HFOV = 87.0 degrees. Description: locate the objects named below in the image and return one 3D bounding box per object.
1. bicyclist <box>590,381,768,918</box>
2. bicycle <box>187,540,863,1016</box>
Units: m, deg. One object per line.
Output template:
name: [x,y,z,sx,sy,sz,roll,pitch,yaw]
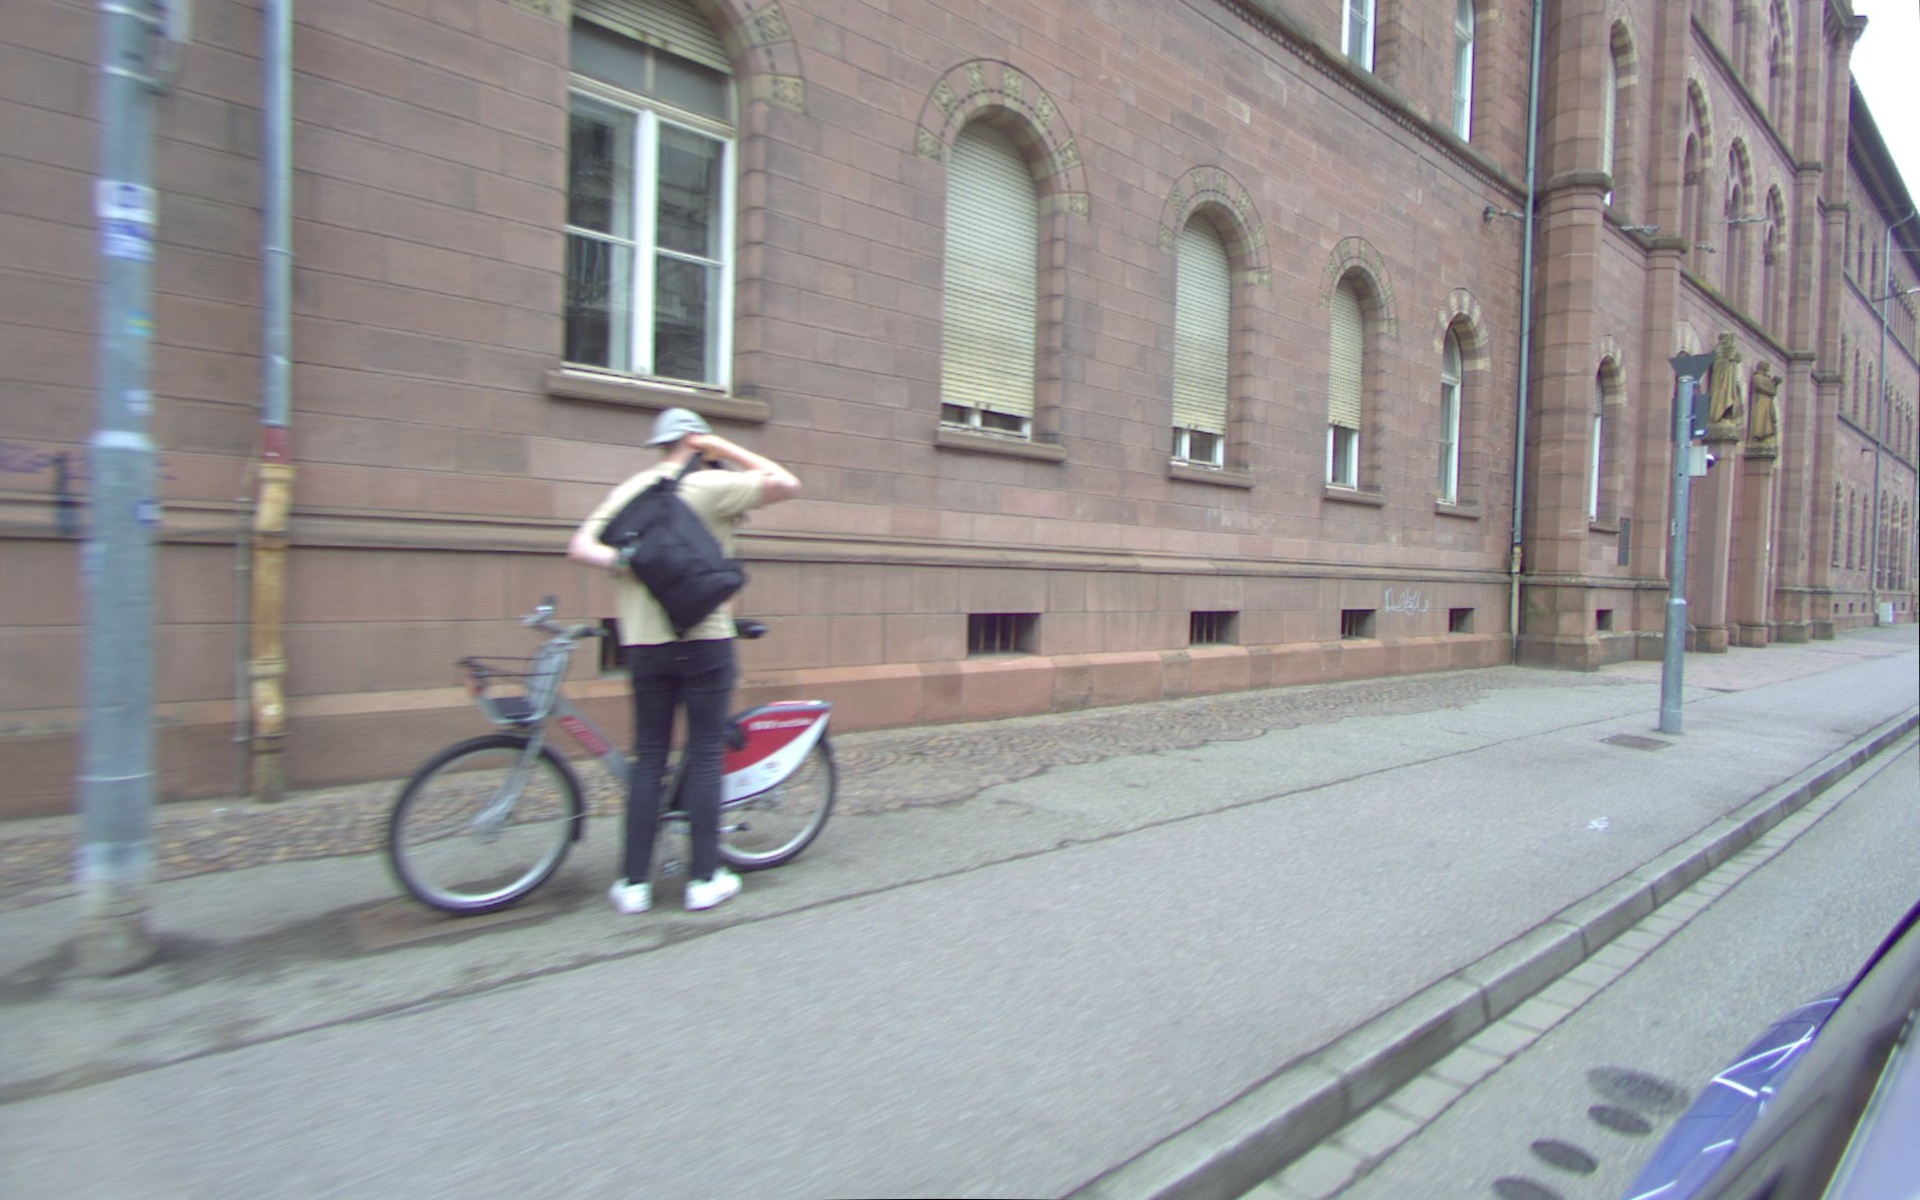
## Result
bicyclist: [-1.086,0.164,3.884,0.443,1.881,0.530,0,3,-41]
bicycle: [-1.387,0.470,3.638,2.188,1.291,0.446,-1,4,-42]
